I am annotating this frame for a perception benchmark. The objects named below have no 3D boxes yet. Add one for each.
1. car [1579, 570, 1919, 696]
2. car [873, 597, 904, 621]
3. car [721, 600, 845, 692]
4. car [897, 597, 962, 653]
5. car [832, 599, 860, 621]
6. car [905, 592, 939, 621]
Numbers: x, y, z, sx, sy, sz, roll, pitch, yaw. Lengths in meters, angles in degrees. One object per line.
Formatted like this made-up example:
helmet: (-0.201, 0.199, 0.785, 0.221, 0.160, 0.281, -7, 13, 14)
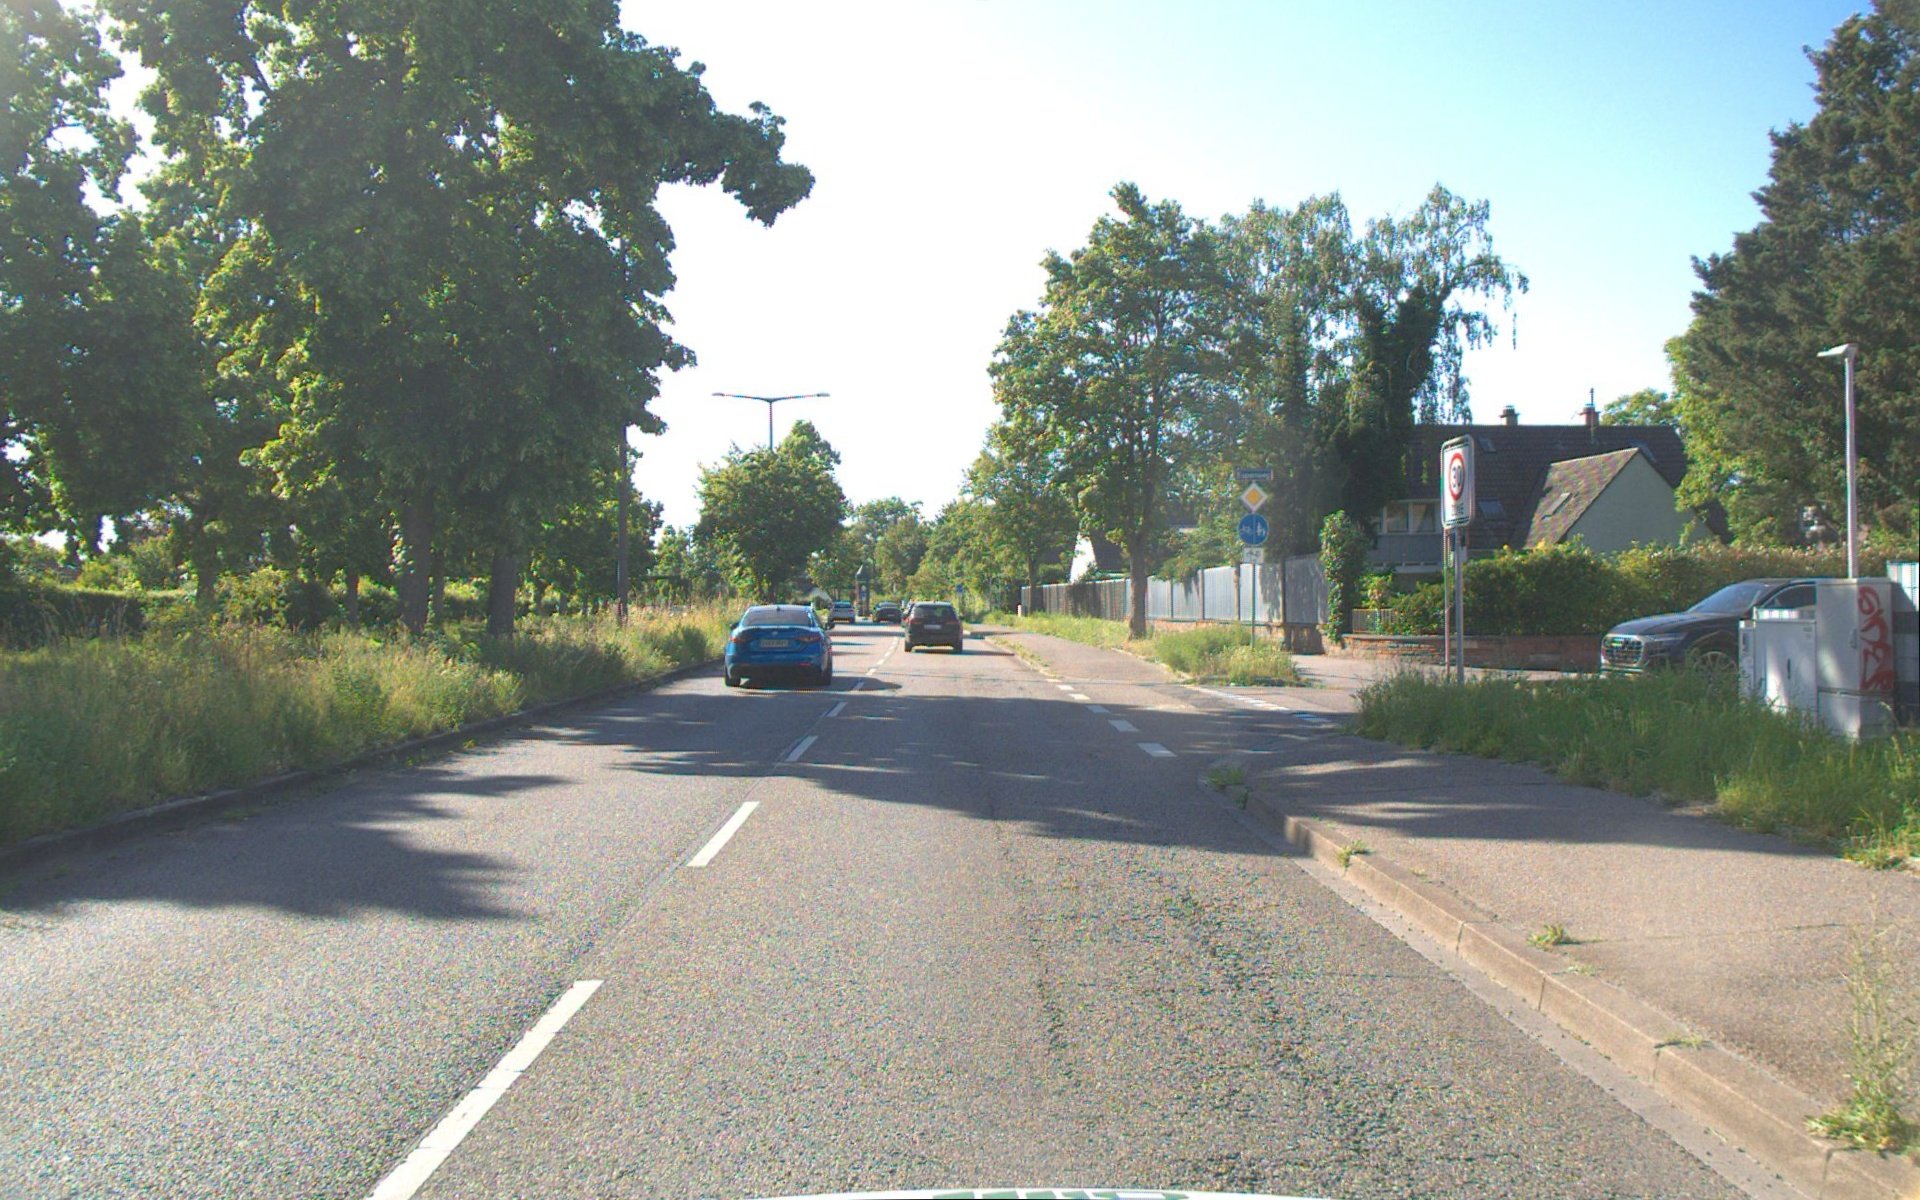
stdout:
car: (11.723, 0.436, 24.077, 4.652, 1.685, 2.068, -1, 0, -8)
car: (-5.249, 0.639, 120.974, 1.879, 1.707, 4.005, 0, 0, -8)
car: (-3.185, 0.789, 30.528, 1.801, 1.500, 4.184, -1, 0, 0)
car: (-0.941, 0.734, 50.224, 1.877, 1.607, 4.180, 0, 0, -2)
car: (-8.071, 0.703, 116.975, 1.877, 1.539, 4.065, 0, 0, -3)
car: (-2.219, 0.380, 95.512, 1.877, 1.607, 4.180, 0, 0, -3)
